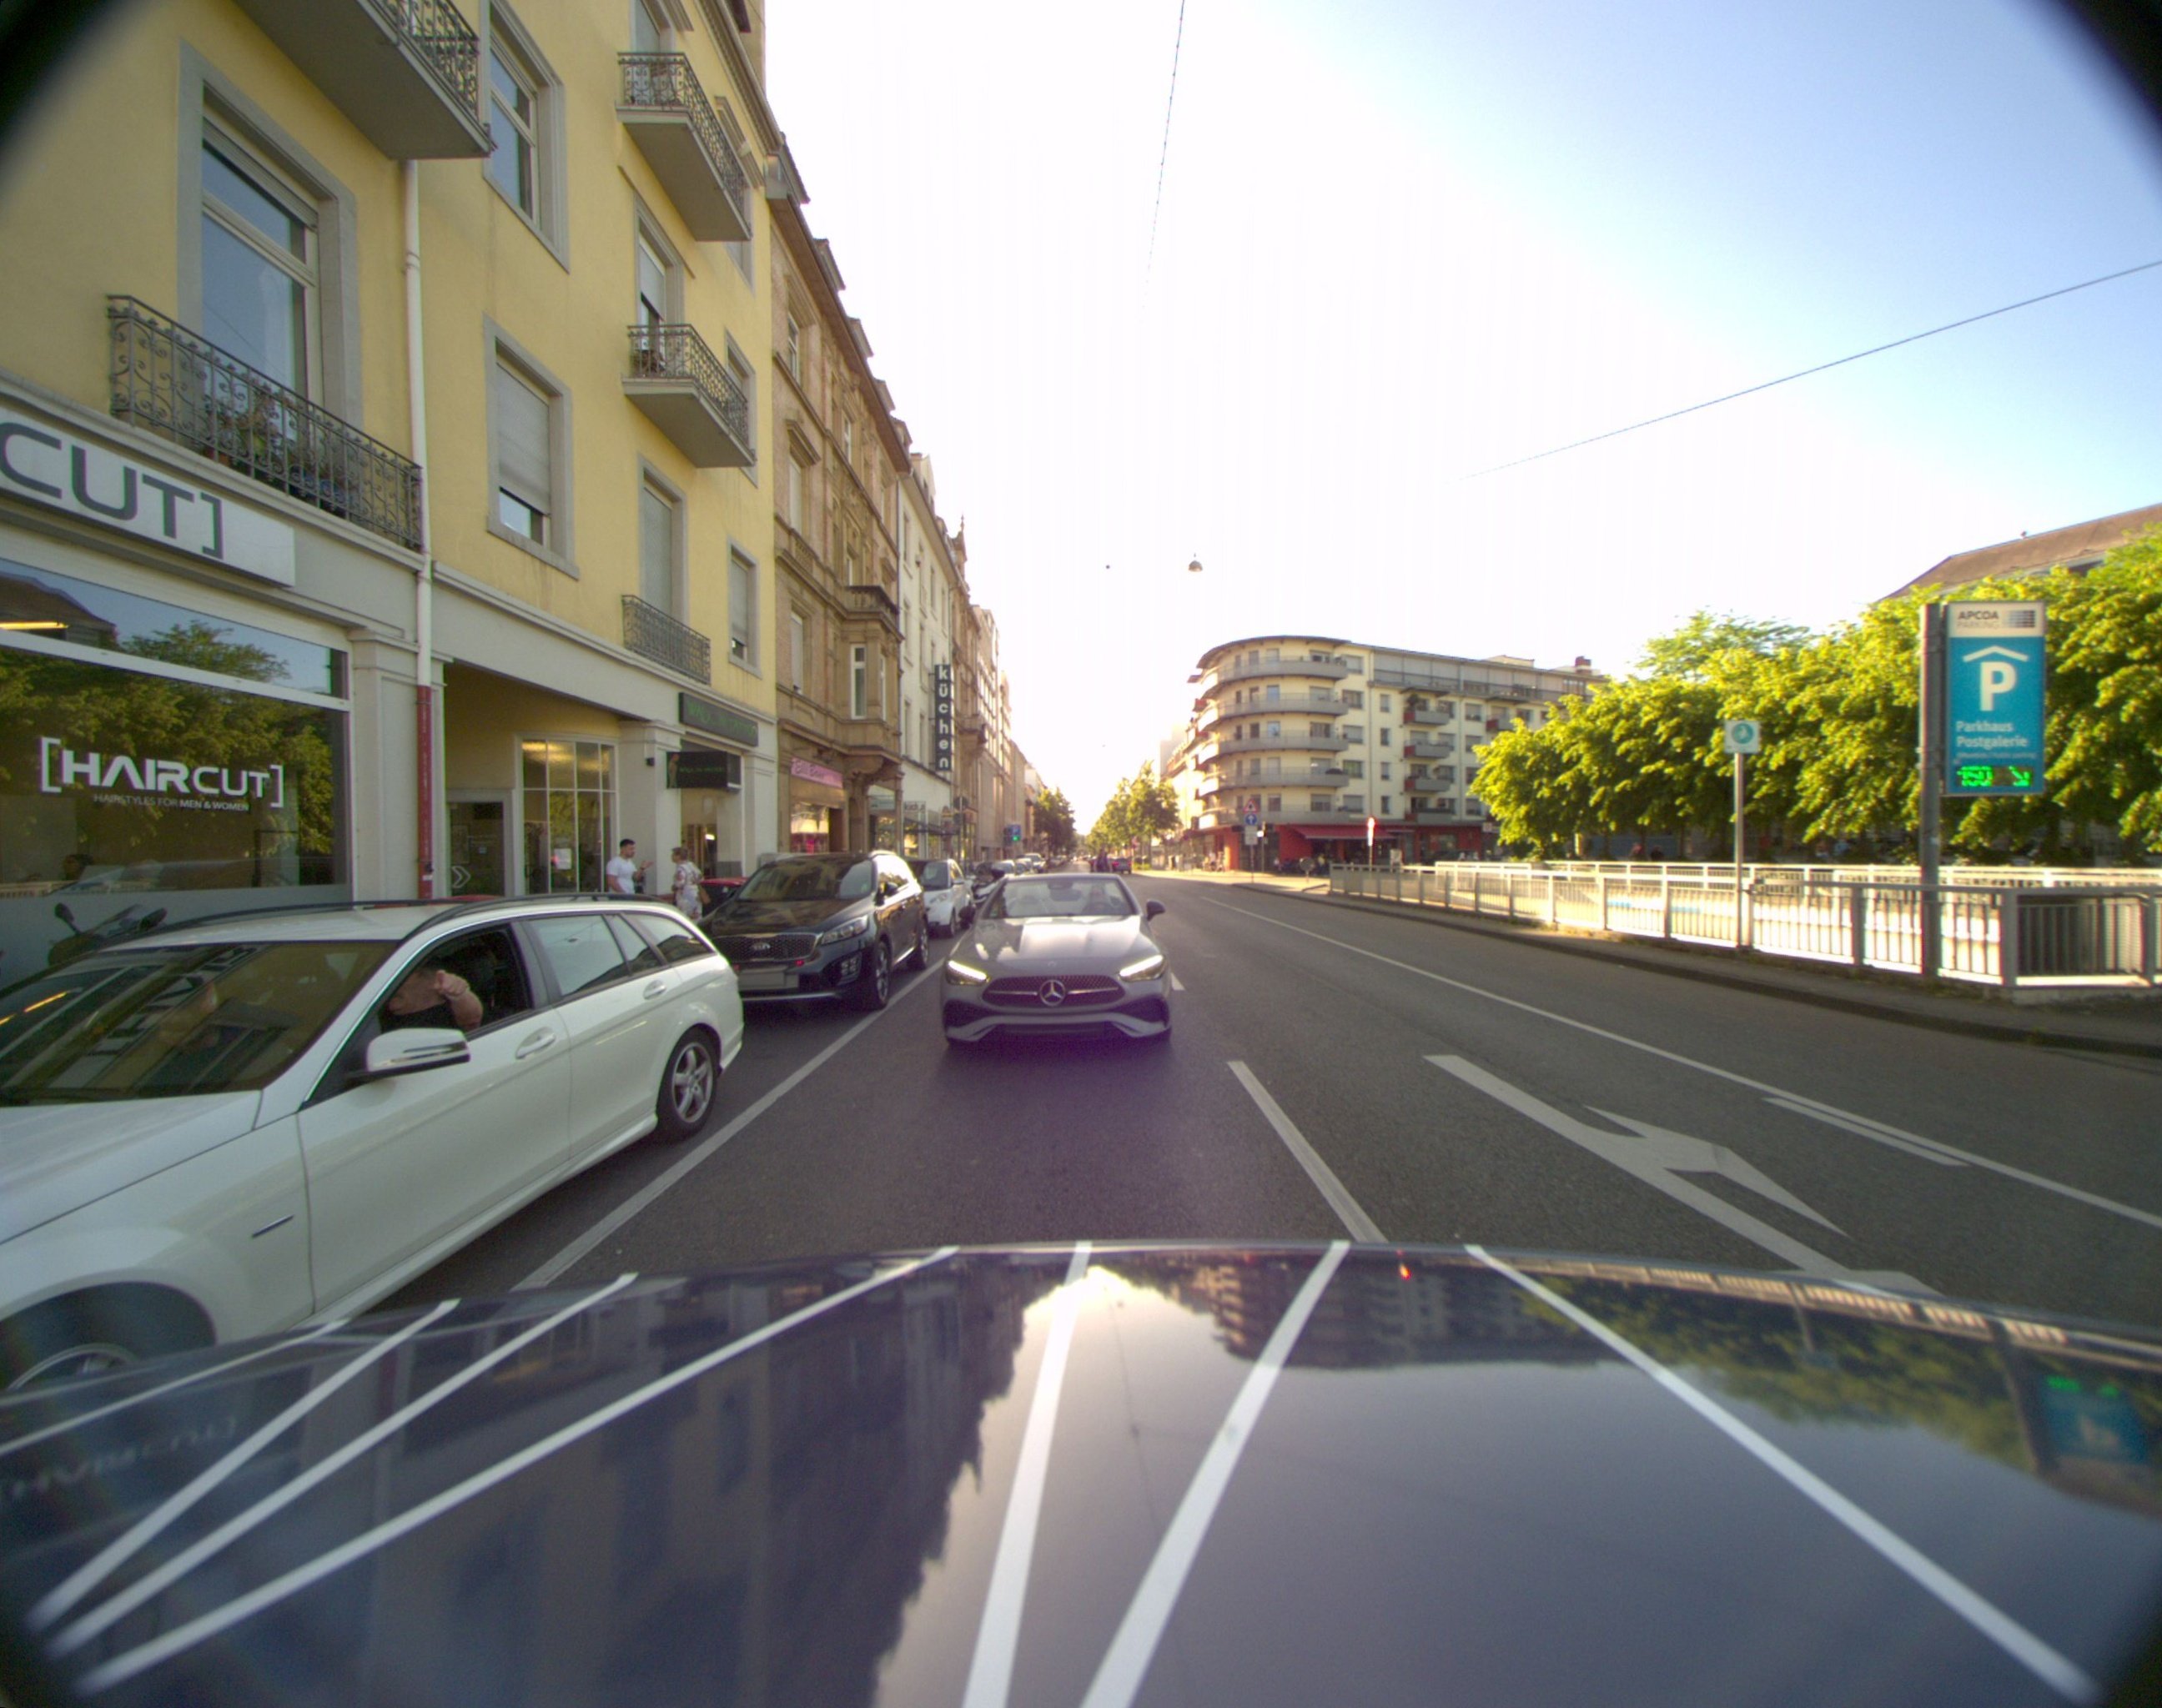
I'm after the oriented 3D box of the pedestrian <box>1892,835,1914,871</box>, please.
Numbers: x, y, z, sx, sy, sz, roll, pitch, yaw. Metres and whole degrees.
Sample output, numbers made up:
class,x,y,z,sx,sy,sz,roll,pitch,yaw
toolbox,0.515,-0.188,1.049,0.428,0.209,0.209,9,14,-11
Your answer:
class,x,y,z,sx,sy,sz,roll,pitch,yaw
pedestrian,41.882,-0.051,38.718,0.602,1.782,0.581,-2,1,-20

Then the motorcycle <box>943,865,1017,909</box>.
class,x,y,z,sx,sy,sz,roll,pitch,yaw
motorcycle,-3.197,1.031,24.168,2.178,1.272,0.866,-2,1,-42

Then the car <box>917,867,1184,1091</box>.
class,x,y,z,sx,sy,sz,roll,pitch,yaw
car,-0.203,0.923,7.550,1.848,1.440,4.373,-1,0,0

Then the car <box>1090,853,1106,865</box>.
class,x,y,z,sx,sy,sz,roll,pitch,yaw
car,2.117,0.550,94.276,1.895,1.388,4.256,-1,0,0

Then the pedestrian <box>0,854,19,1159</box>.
class,x,y,z,sx,sy,sz,roll,pitch,yaw
pedestrian,-6.094,0.813,3.830,0.698,1.623,0.532,0,1,-1

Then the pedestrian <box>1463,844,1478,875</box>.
class,x,y,z,sx,sy,sz,roll,pitch,yaw
pedestrian,22.602,0.340,44.131,0.602,1.782,0.581,-3,2,-45

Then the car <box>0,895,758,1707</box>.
class,x,y,z,sx,sy,sz,roll,pitch,yaw
car,-3.076,1.030,2.910,1.743,1.438,4.463,-1,0,0

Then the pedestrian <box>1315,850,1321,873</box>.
class,x,y,z,sx,sy,sz,roll,pitch,yaw
pedestrian,17.092,0.533,54.838,0.322,1.658,0.362,-1,1,32

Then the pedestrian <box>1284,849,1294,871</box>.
class,x,y,z,sx,sy,sz,roll,pitch,yaw
pedestrian,15.586,0.445,56.932,0.575,1.698,0.642,-1,1,3

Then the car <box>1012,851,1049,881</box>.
class,x,y,z,sx,sy,sz,roll,pitch,yaw
car,-2.974,0.679,45.348,1.895,1.680,4.049,-1,0,0

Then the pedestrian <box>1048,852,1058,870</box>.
class,x,y,z,sx,sy,sz,roll,pitch,yaw
pedestrian,-2.510,0.628,67.801,0.774,1.606,0.696,-1,1,-3

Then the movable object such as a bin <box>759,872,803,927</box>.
class,x,y,z,sx,sy,sz,roll,pitch,yaw
movable object such as a bin,-6.055,0.904,15.341,0.606,1.060,0.619,2,1,1

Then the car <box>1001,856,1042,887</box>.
class,x,y,z,sx,sy,sz,roll,pitch,yaw
car,-2.975,0.849,38.719,1.737,1.409,3.802,-1,0,0

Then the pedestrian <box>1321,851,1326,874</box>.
class,x,y,z,sx,sy,sz,roll,pitch,yaw
pedestrian,17.463,0.583,54.740,0.270,1.658,0.362,-1,1,32

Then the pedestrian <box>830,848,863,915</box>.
class,x,y,z,sx,sy,sz,roll,pitch,yaw
pedestrian,-5.823,0.678,18.881,0.618,1.623,0.463,-1,1,8

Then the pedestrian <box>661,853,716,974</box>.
class,x,y,z,sx,sy,sz,roll,pitch,yaw
pedestrian,-5.553,0.811,10.758,0.594,1.651,0.450,0,1,-42

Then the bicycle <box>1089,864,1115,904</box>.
class,x,y,z,sx,sy,sz,roll,pitch,yaw
bicycle,0.683,0.965,24.895,0.798,1.226,1.773,-1,0,1

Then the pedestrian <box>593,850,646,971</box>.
class,x,y,z,sx,sy,sz,roll,pitch,yaw
pedestrian,-6.463,0.768,10.646,0.337,1.651,0.525,1,1,23

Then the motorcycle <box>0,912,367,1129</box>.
class,x,y,z,sx,sy,sz,roll,pitch,yaw
motorcycle,-6.254,1.031,5.358,0.551,1.085,2.009,0,0,-1

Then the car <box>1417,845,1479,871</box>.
class,x,y,z,sx,sy,sz,roll,pitch,yaw
car,28.992,0.332,59.978,4.432,1.901,1.951,-2,1,-24

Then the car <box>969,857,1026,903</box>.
class,x,y,z,sx,sy,sz,roll,pitch,yaw
car,-3.034,0.891,28.305,1.737,1.509,4.164,-1,0,-2

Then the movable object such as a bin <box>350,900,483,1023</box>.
class,x,y,z,sx,sy,sz,roll,pitch,yaw
movable object such as a bin,-6.127,0.970,7.035,0.661,1.035,0.619,2,1,3

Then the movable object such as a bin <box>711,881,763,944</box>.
class,x,y,z,sx,sy,sz,roll,pitch,yaw
movable object such as a bin,-6.092,1.027,13.469,0.606,1.060,0.619,2,1,1

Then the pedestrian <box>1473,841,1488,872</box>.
class,x,y,z,sx,sy,sz,roll,pitch,yaw
pedestrian,23.378,0.153,44.488,0.602,1.782,0.581,-3,1,-40

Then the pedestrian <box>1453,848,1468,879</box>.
class,x,y,z,sx,sy,sz,roll,pitch,yaw
pedestrian,21.925,0.562,43.858,0.602,1.782,0.581,-3,2,-45

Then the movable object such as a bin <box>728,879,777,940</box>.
class,x,y,z,sx,sy,sz,roll,pitch,yaw
movable object such as a bin,-6.079,1.020,14.083,0.606,1.060,0.619,2,1,1

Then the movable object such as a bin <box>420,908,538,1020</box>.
class,x,y,z,sx,sy,sz,roll,pitch,yaw
movable object such as a bin,-6.067,1.087,7.687,0.669,1.019,0.619,2,1,3

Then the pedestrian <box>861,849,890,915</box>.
class,x,y,z,sx,sy,sz,roll,pitch,yaw
pedestrian,-5.131,0.692,18.974,0.514,1.623,0.415,-1,1,28

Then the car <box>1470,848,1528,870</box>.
class,x,y,z,sx,sy,sz,roll,pitch,yaw
car,34.287,0.407,62.354,4.300,1.611,1.951,-2,1,-24

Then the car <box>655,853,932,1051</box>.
class,x,y,z,sx,sy,sz,roll,pitch,yaw
car,-3.018,0.873,9.116,1.760,1.726,4.571,-1,0,-3

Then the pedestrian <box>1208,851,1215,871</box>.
class,x,y,z,sx,sy,sz,roll,pitch,yaw
pedestrian,10.343,0.551,60.155,0.376,1.521,0.516,-2,1,-3

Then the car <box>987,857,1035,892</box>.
class,x,y,z,sx,sy,sz,roll,pitch,yaw
car,-3.059,0.881,34.051,1.737,1.409,3.802,-1,0,0

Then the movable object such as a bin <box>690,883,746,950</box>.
class,x,y,z,sx,sy,sz,roll,pitch,yaw
movable object such as a bin,-6.116,1.034,12.822,0.606,1.060,0.619,2,1,1

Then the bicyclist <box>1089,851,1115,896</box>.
class,x,y,z,sx,sy,sz,roll,pitch,yaw
bicyclist,0.678,0.635,24.875,0.798,1.426,1.008,-1,1,1

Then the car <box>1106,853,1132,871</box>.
class,x,y,z,sx,sy,sz,roll,pitch,yaw
car,3.227,0.647,64.883,1.807,1.388,3.925,-1,0,-3

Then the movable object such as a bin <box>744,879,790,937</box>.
class,x,y,z,sx,sy,sz,roll,pitch,yaw
movable object such as a bin,-6.068,1.026,14.716,0.606,1.060,0.619,2,1,1

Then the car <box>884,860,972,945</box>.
class,x,y,z,sx,sy,sz,roll,pitch,yaw
car,-3.030,0.918,15.492,1.275,1.509,2.794,-1,0,-2

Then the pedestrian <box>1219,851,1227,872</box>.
class,x,y,z,sx,sy,sz,roll,pitch,yaw
pedestrian,11.228,0.594,60.149,0.442,1.663,0.516,-2,1,-3

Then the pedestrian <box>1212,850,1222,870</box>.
class,x,y,z,sx,sy,sz,roll,pitch,yaw
pedestrian,10.761,0.473,60.118,0.570,1.612,0.793,-2,1,-3

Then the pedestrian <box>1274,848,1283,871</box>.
class,x,y,z,sx,sy,sz,roll,pitch,yaw
pedestrian,14.921,0.411,57.425,0.575,1.698,0.642,-1,1,3
